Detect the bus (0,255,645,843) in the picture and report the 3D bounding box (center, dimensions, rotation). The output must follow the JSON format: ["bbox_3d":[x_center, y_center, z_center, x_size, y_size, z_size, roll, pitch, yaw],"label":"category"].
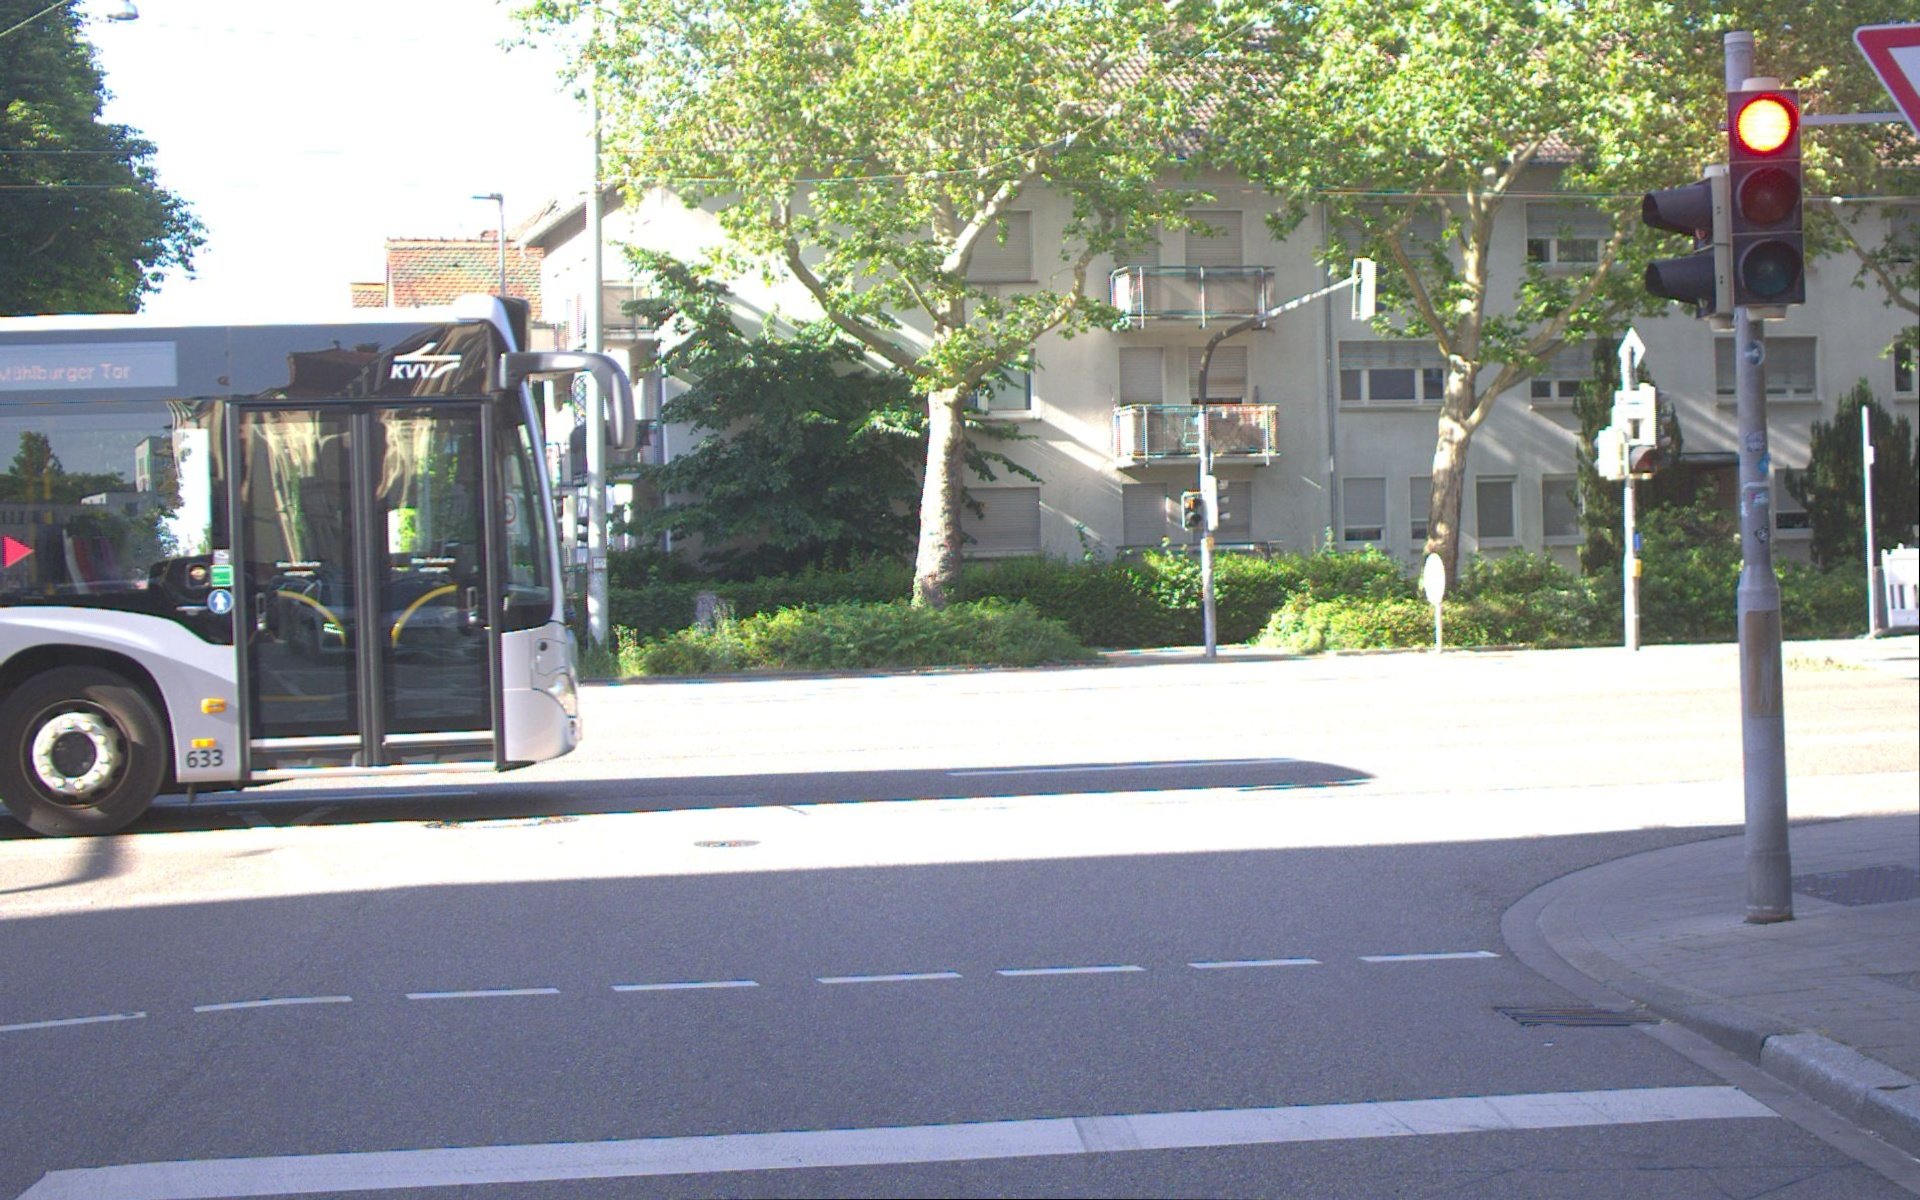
[{"bbox_3d":[-6.743,-0.203,19.611,9.618,3.086,2.746,-2,1,-8],"label":"bus"}]
